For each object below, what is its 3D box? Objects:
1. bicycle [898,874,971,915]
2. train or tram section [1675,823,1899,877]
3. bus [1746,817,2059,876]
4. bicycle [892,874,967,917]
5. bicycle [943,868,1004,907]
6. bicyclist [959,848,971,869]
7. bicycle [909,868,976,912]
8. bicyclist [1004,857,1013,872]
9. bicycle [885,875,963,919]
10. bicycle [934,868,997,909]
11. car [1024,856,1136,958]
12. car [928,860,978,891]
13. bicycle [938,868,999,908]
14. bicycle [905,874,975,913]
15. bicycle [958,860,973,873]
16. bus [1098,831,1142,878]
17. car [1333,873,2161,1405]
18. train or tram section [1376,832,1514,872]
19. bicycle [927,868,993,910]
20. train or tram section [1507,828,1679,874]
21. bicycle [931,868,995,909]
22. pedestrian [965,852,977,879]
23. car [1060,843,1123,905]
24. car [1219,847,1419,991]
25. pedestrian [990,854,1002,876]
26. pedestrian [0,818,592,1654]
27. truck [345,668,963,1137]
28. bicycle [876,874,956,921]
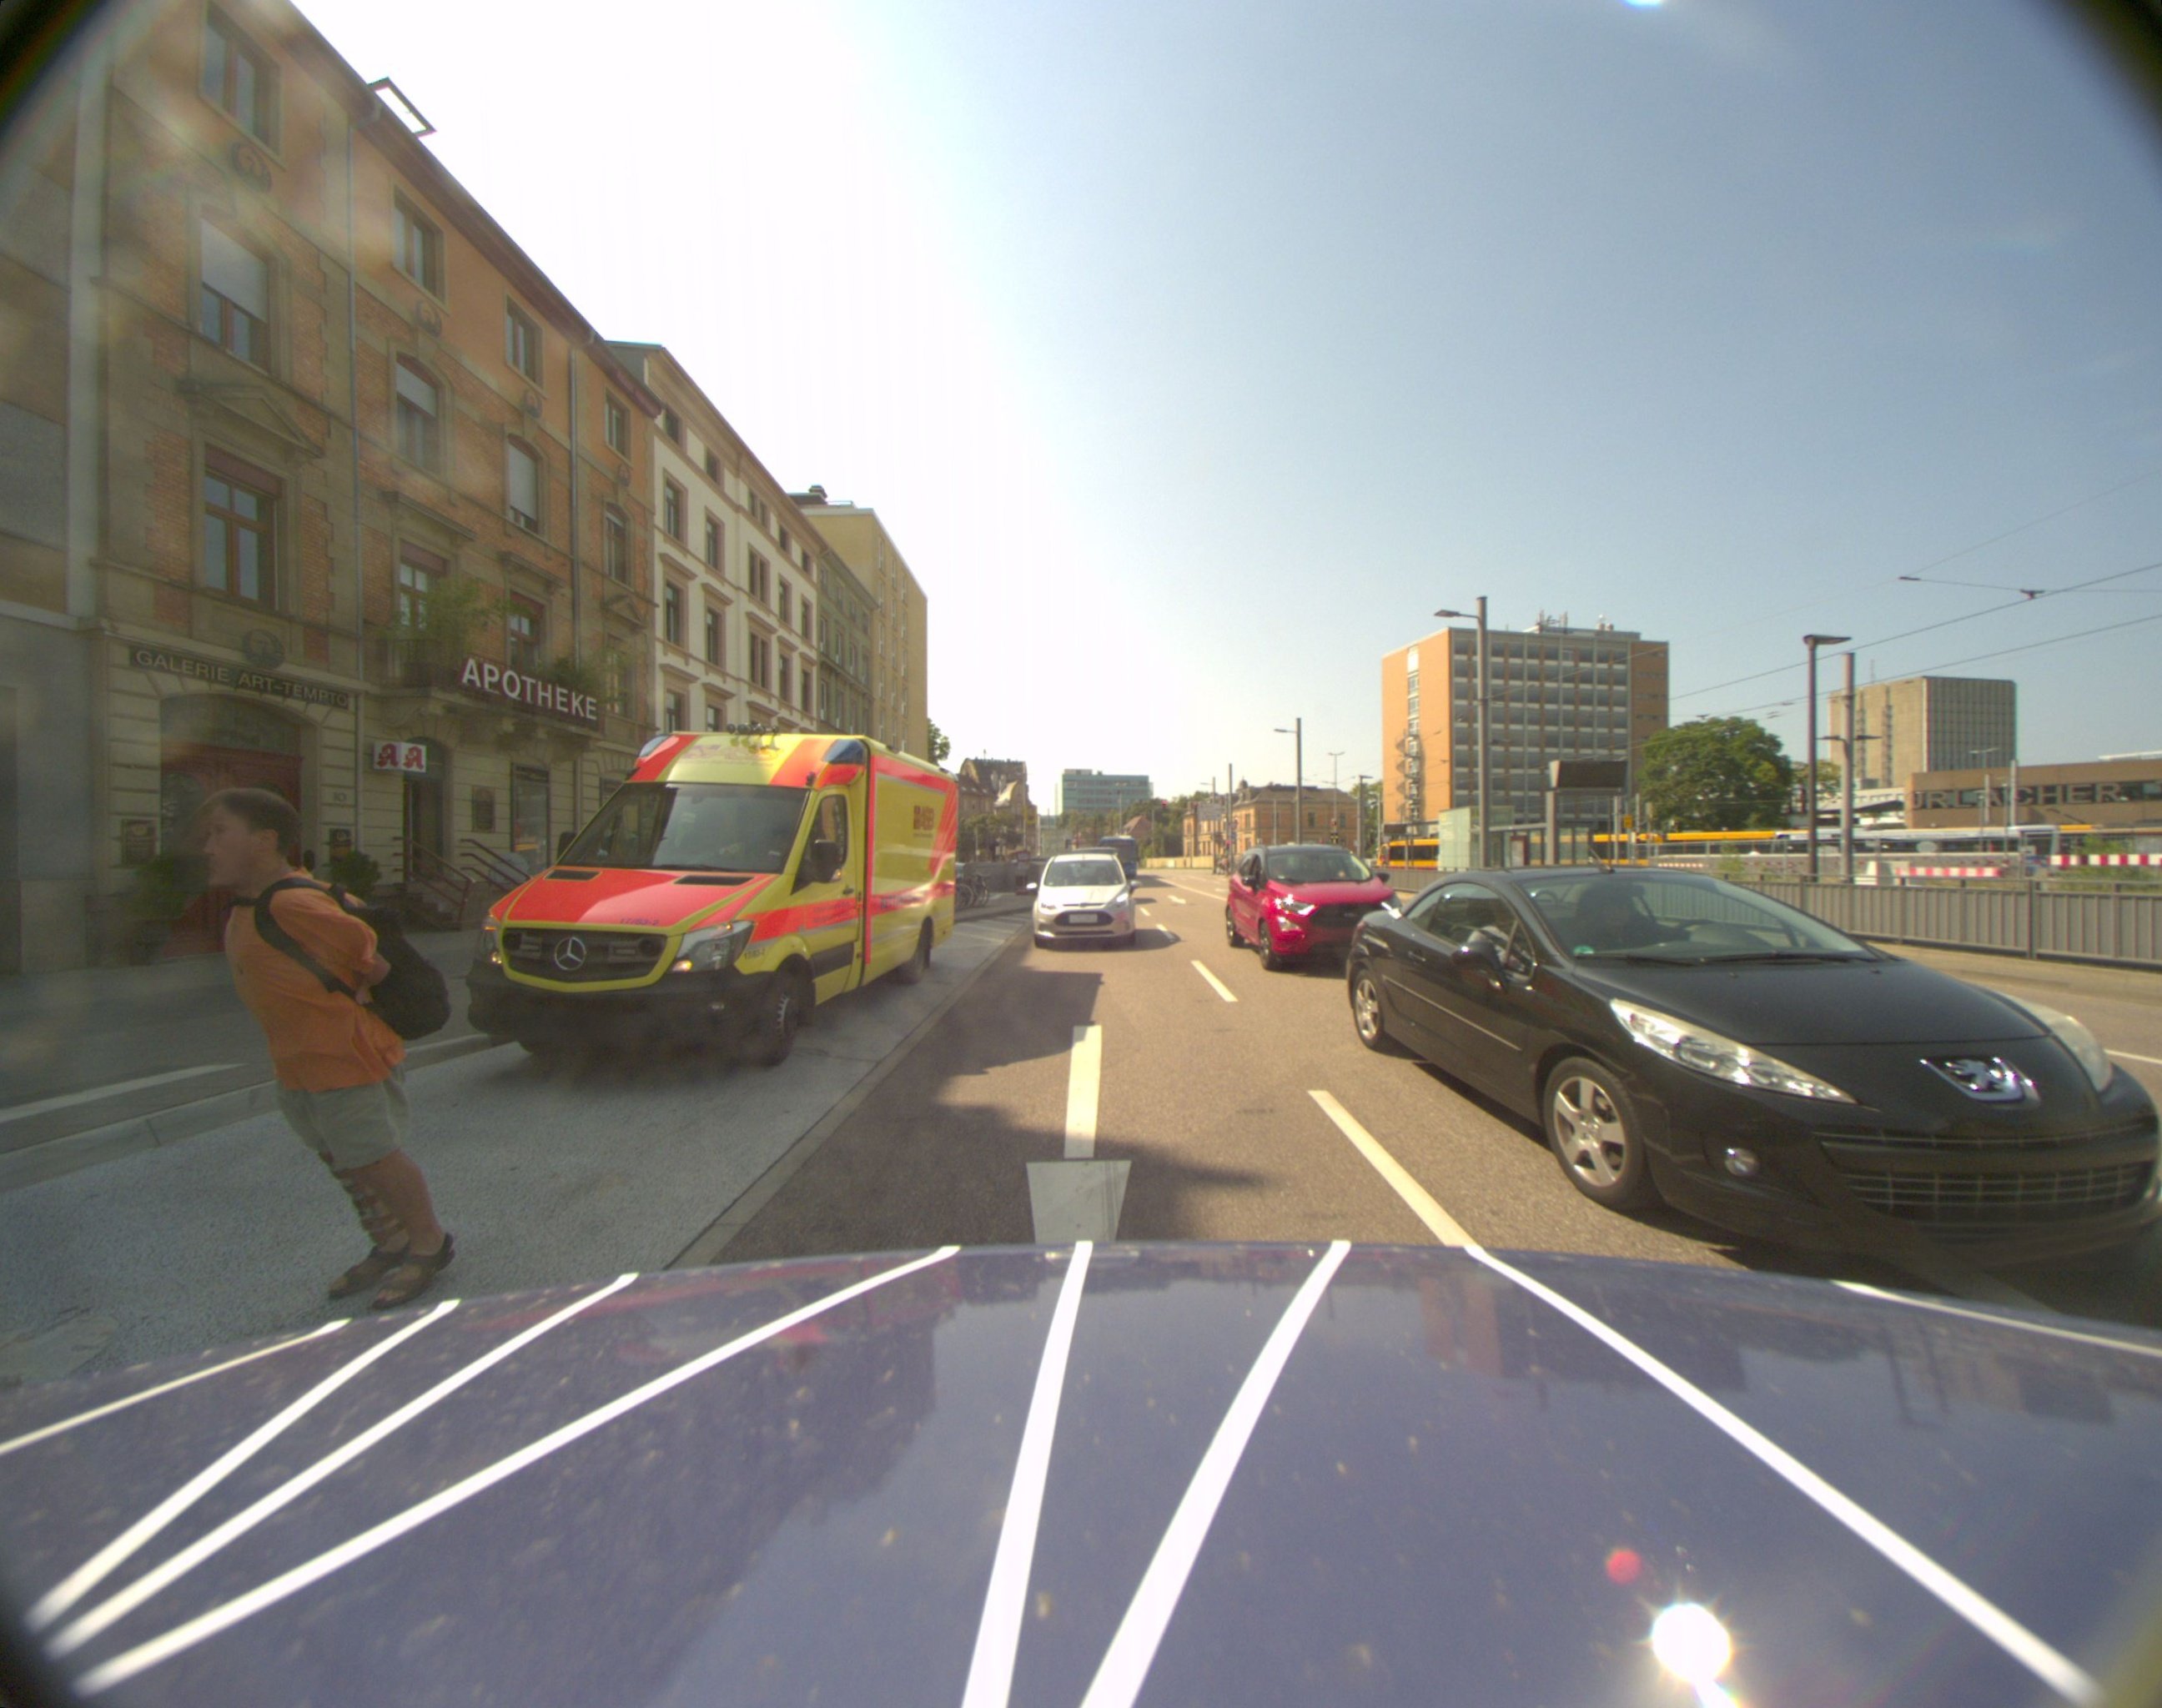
[{"bbox_3d":[-4.044,1.112,21.074,1.841,1.054,0.657,-2,0,1],"label":"bicycle"},{"bbox_3d":[53.153,-0.276,57.856,12.332,3.743,2.004,0,0,45],"label":"train or tram section"},{"bbox_3d":[52.099,-0.309,49.189,13.371,3.275,3.357,-2,0,45],"label":"bus"},{"bbox_3d":[-4.052,1.107,20.407,1.841,1.047,0.657,-2,0,1],"label":"bicycle"},{"bbox_3d":[-3.498,1.082,24.760,1.841,1.196,0.637,-2,0,1],"label":"bicycle"},{"bbox_3d":[-8.565,0.324,56.189,0.721,1.577,1.103,-1,0,2],"label":"bicyclist"},{"bbox_3d":[-4.071,1.055,22.383,1.841,1.196,0.549,-2,0,1],"label":"bicycle"},{"bbox_3d":[-9.432,1.367,98.919,0.857,1.891,0.664,-2,1,26],"label":"bicyclist"},{"bbox_3d":[-4.064,1.104,19.709,1.841,1.054,0.657,-2,0,1],"label":"bicycle"},{"bbox_3d":[-3.584,1.058,23.682,1.841,1.212,0.434,-2,0,1],"label":"bicycle"},{"bbox_3d":[0.021,0.850,14.049,1.728,1.579,4.000,-1,0,1],"label":"car"},{"bbox_3d":[-6.359,1.050,38.078,1.666,1.418,3.934,2,0,2],"label":"car"},{"bbox_3d":[-3.558,1.077,24.160,1.841,1.196,0.434,-2,0,1],"label":"bicycle"},{"bbox_3d":[-4.016,1.127,21.764,1.841,1.050,0.657,-2,0,1],"label":"bicycle"},{"bbox_3d":[-8.554,0.910,56.199,0.721,0.947,2.001,-1,0,2],"label":"bicycle"},{"bbox_3d":[2.830,0.018,58.942,2.919,3.119,12.345,-2,0,1],"label":"bus"},{"bbox_3d":[2.849,0.883,4.118,1.692,1.405,3.801,-2,0,0],"label":"car"},{"bbox_3d":[35.679,-0.172,75.203,12.332,3.743,2.004,0,0,45],"label":"train or tram section"},{"bbox_3d":[-3.620,1.042,22.784,1.841,1.196,0.434,-2,0,1],"label":"bicycle"},{"bbox_3d":[44.423,-0.192,66.524,12.332,3.743,2.004,0,0,45],"label":"train or tram section"},{"bbox_3d":[-3.595,1.055,23.220,1.841,1.196,0.434,-2,0,1],"label":"bicycle"},{"bbox_3d":[-6.593,0.697,45.517,0.645,1.619,0.796,1,0,-1],"label":"pedestrian"},{"bbox_3d":[0.368,0.648,27.084,1.998,1.953,4.816,-2,0,1],"label":"car"},{"bbox_3d":[3.093,0.748,10.710,1.634,1.611,3.968,-2,0,2],"label":"car"},{"bbox_3d":[-6.453,0.833,57.525,0.644,1.619,0.798,1,0,16],"label":"pedestrian"},{"bbox_3d":[-2.491,0.810,2.320,0.965,1.730,1.241,4,-1,13],"label":"pedestrian"},{"bbox_3d":[-3.103,0.267,7.742,2.333,2.754,6.340,2,0,4],"label":"truck"},{"bbox_3d":[-4.078,1.074,18.891,1.807,1.069,0.699,-2,0,0],"label":"bicycle"}]
